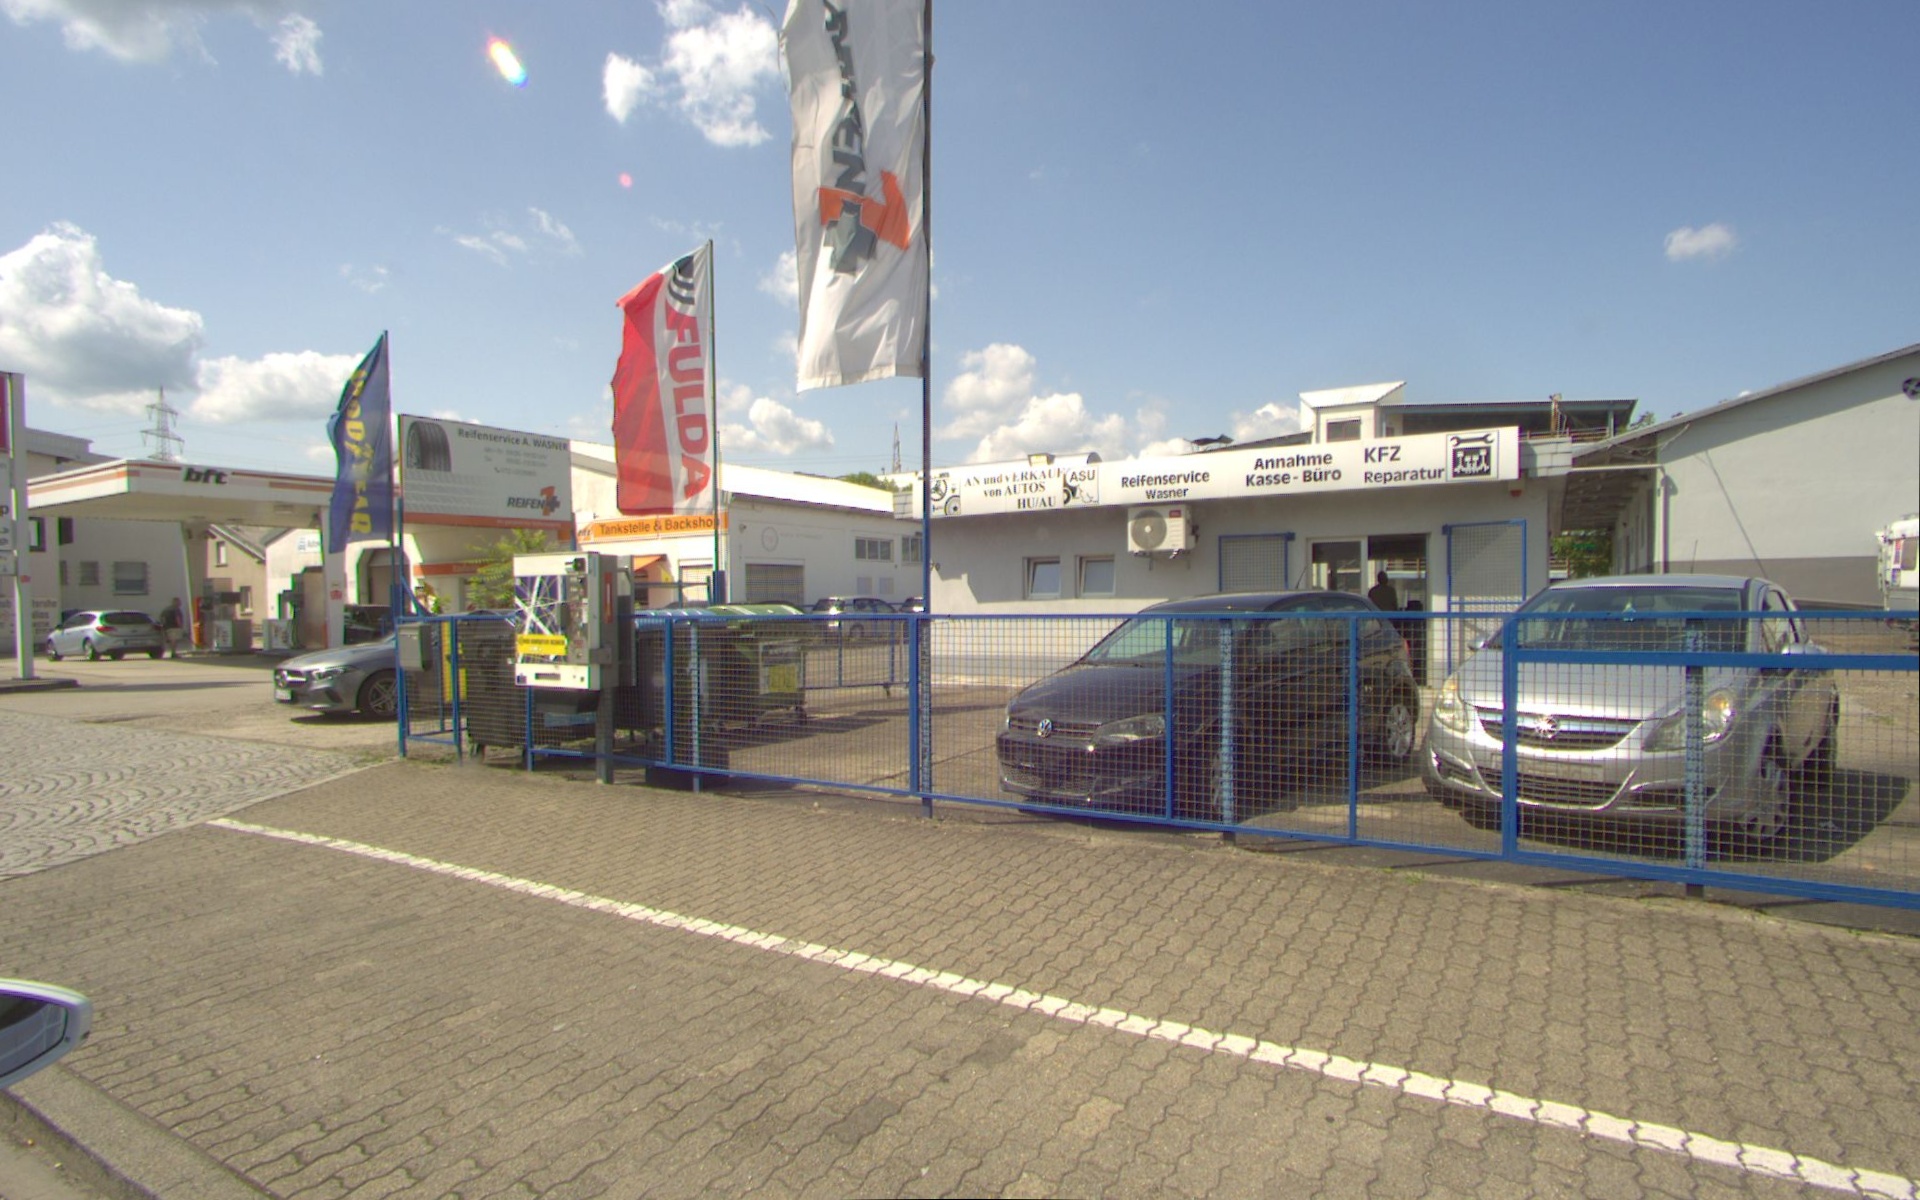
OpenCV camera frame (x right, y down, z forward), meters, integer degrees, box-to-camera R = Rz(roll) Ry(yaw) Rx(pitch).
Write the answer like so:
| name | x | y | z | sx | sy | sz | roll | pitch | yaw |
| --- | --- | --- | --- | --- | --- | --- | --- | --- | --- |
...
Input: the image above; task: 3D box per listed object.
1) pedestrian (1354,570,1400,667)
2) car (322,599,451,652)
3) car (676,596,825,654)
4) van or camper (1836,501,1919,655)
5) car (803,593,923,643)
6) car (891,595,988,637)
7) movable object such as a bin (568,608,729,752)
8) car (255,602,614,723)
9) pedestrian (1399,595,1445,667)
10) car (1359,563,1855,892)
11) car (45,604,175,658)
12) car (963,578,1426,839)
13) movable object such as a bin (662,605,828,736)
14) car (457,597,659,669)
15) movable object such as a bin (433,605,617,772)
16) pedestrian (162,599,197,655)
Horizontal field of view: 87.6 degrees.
| name | x | y | z | sx | sy | sz | roll | pitch | yaw |
| --- | --- | --- | --- | --- | --- | --- | --- | --- | --- |
| pedestrian | 7.350 | 0.320 | 17.646 | 0.654 | 1.671 | 0.563 | 0 | 1 | 34 |
| car | -17.624 | 0.749 | 30.769 | 3.777 | 1.523 | 1.803 | 0 | 0 | 31 |
| car | -5.719 | 0.641 | 27.820 | 1.564 | 1.482 | 4.187 | 0 | 0 | 33 |
| van or camper | 21.013 | -0.452 | 19.529 | 5.571 | 3.005 | 2.264 | 0 | 1 | 31 |
| car | -3.016 | 0.526 | 32.051 | 1.564 | 1.482 | 4.187 | 0 | 0 | 33 |
| car | -0.676 | 0.534 | 35.682 | 1.564 | 1.385 | 3.860 | 0 | 0 | 33 |
| movable object such as a bin | -3.329 | 0.803 | 10.739 | 1.225 | 1.415 | 1.106 | 0 | 1 | 31 |
| car | -7.294 | 0.765 | 14.320 | 1.653 | 1.434 | 4.256 | 0 | 0 | 37 |
| pedestrian | 8.044 | 0.533 | 17.439 | 0.654 | 1.225 | 0.563 | 0 | 1 | 34 |
| car | 4.270 | 0.561 | 6.381 | 3.729 | 1.472 | 1.757 | -1 | 0 | -42 |
| car | -25.738 | 0.899 | 30.308 | 3.776 | 1.523 | 1.803 | 0 | 0 | 30 |
| car | 1.902 | 0.602 | 7.477 | 3.655 | 1.472 | 1.625 | -1 | 0 | -43 |
| movable object such as a bin | -2.535 | 0.783 | 11.904 | 1.318 | 1.414 | 1.400 | 0 | 1 | 31 |
| car | -9.167 | 0.688 | 23.165 | 1.564 | 1.482 | 4.187 | 0 | 0 | 33 |
| movable object such as a bin | -4.162 | 0.786 | 9.608 | 1.225 | 1.455 | 1.106 | 0 | 1 | 31 |
| pedestrian | -23.777 | 0.799 | 30.518 | 0.698 | 1.679 | 0.546 | -1 | 1 | -22 |
